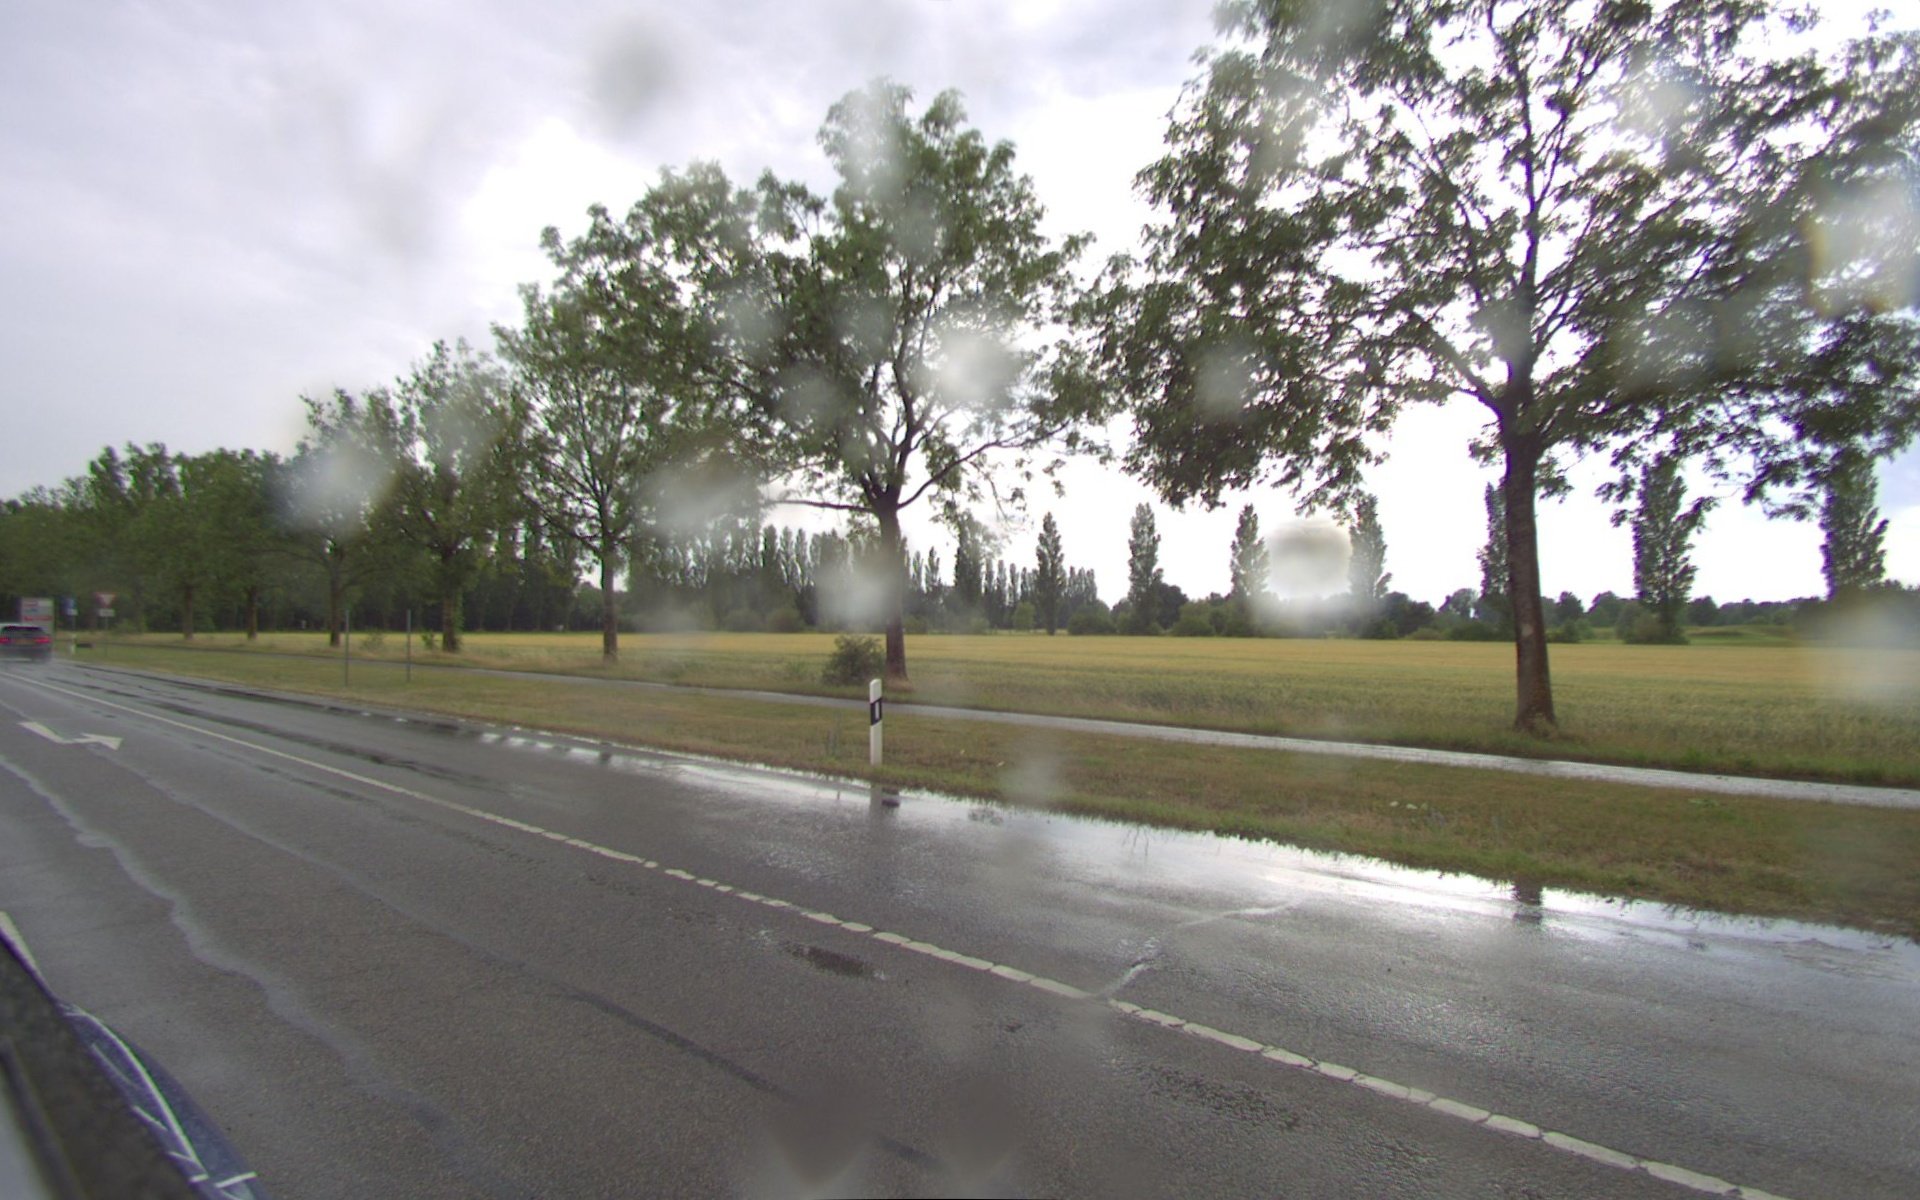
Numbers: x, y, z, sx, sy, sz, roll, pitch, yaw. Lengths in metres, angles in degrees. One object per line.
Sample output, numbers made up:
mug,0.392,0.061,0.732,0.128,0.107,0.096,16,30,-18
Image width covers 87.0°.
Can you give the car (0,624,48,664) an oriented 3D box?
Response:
car,-35.203,1.596,37.388,4.041,1.415,1.702,-1,-4,41
